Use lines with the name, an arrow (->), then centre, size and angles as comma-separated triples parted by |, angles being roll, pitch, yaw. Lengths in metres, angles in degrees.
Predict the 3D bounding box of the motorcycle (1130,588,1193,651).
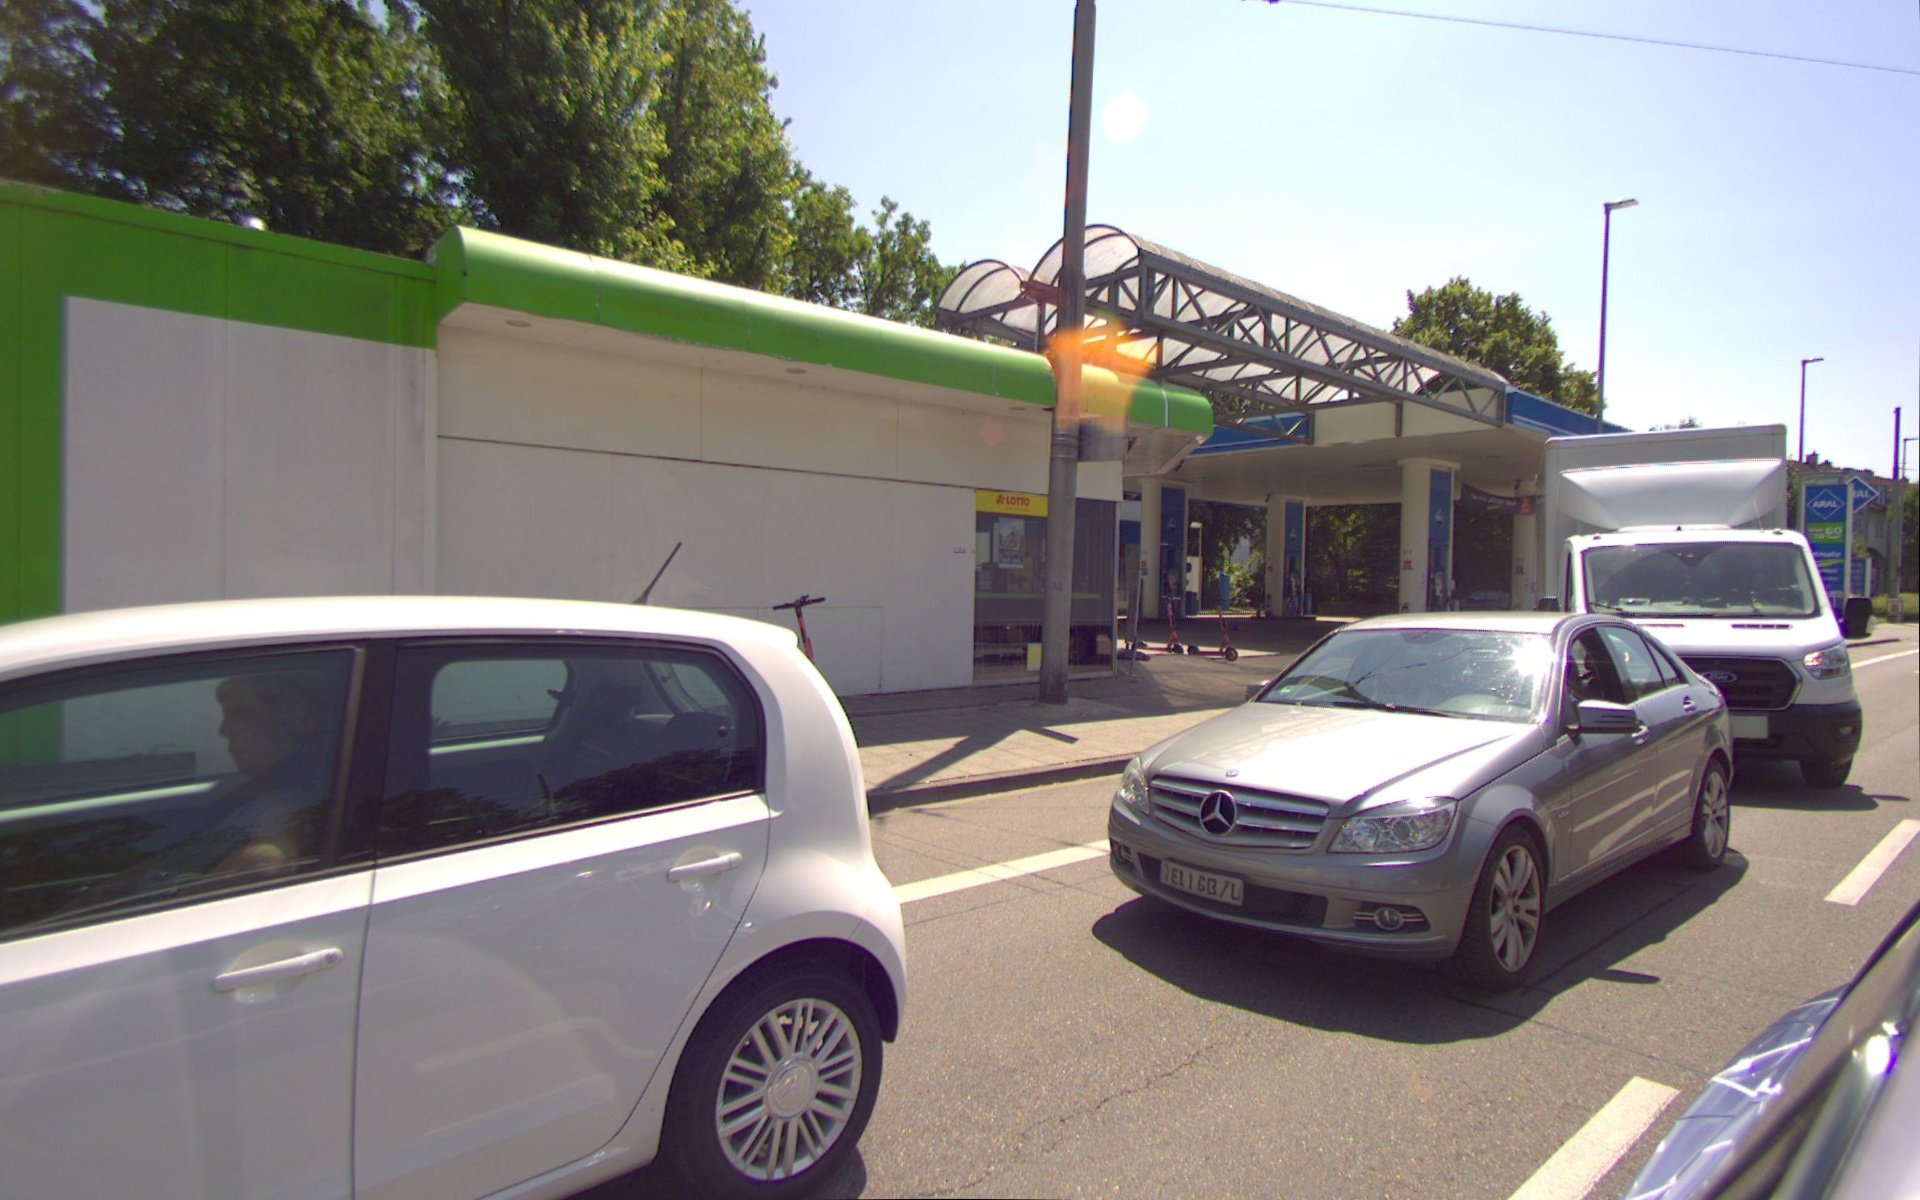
motorcycle -> 3.957, 0.371, 19.915 | 0.389, 1.127, 1.156 | 2, 2, -41

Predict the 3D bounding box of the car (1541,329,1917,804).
car -> 7.930, -0.269, 11.484 | 2.211, 3.377, 8.546 | 0, 0, 29

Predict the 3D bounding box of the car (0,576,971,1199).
car -> -1.773, 0.694, 2.301 | 3.374, 1.466, 1.612 | 1, 0, -40

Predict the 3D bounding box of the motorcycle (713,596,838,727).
motorcycle -> -1.681, 0.540, 9.296 | 1.098, 1.118, 0.253 | -1, 7, -40

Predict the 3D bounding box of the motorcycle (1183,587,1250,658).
motorcycle -> 4.805, 0.411, 18.996 | 0.357, 1.225, 1.156 | 2, 2, -41

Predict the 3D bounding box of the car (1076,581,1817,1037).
car -> 3.076, 0.701, 5.653 | 5.206, 1.492, 1.716 | 0, -1, -40
